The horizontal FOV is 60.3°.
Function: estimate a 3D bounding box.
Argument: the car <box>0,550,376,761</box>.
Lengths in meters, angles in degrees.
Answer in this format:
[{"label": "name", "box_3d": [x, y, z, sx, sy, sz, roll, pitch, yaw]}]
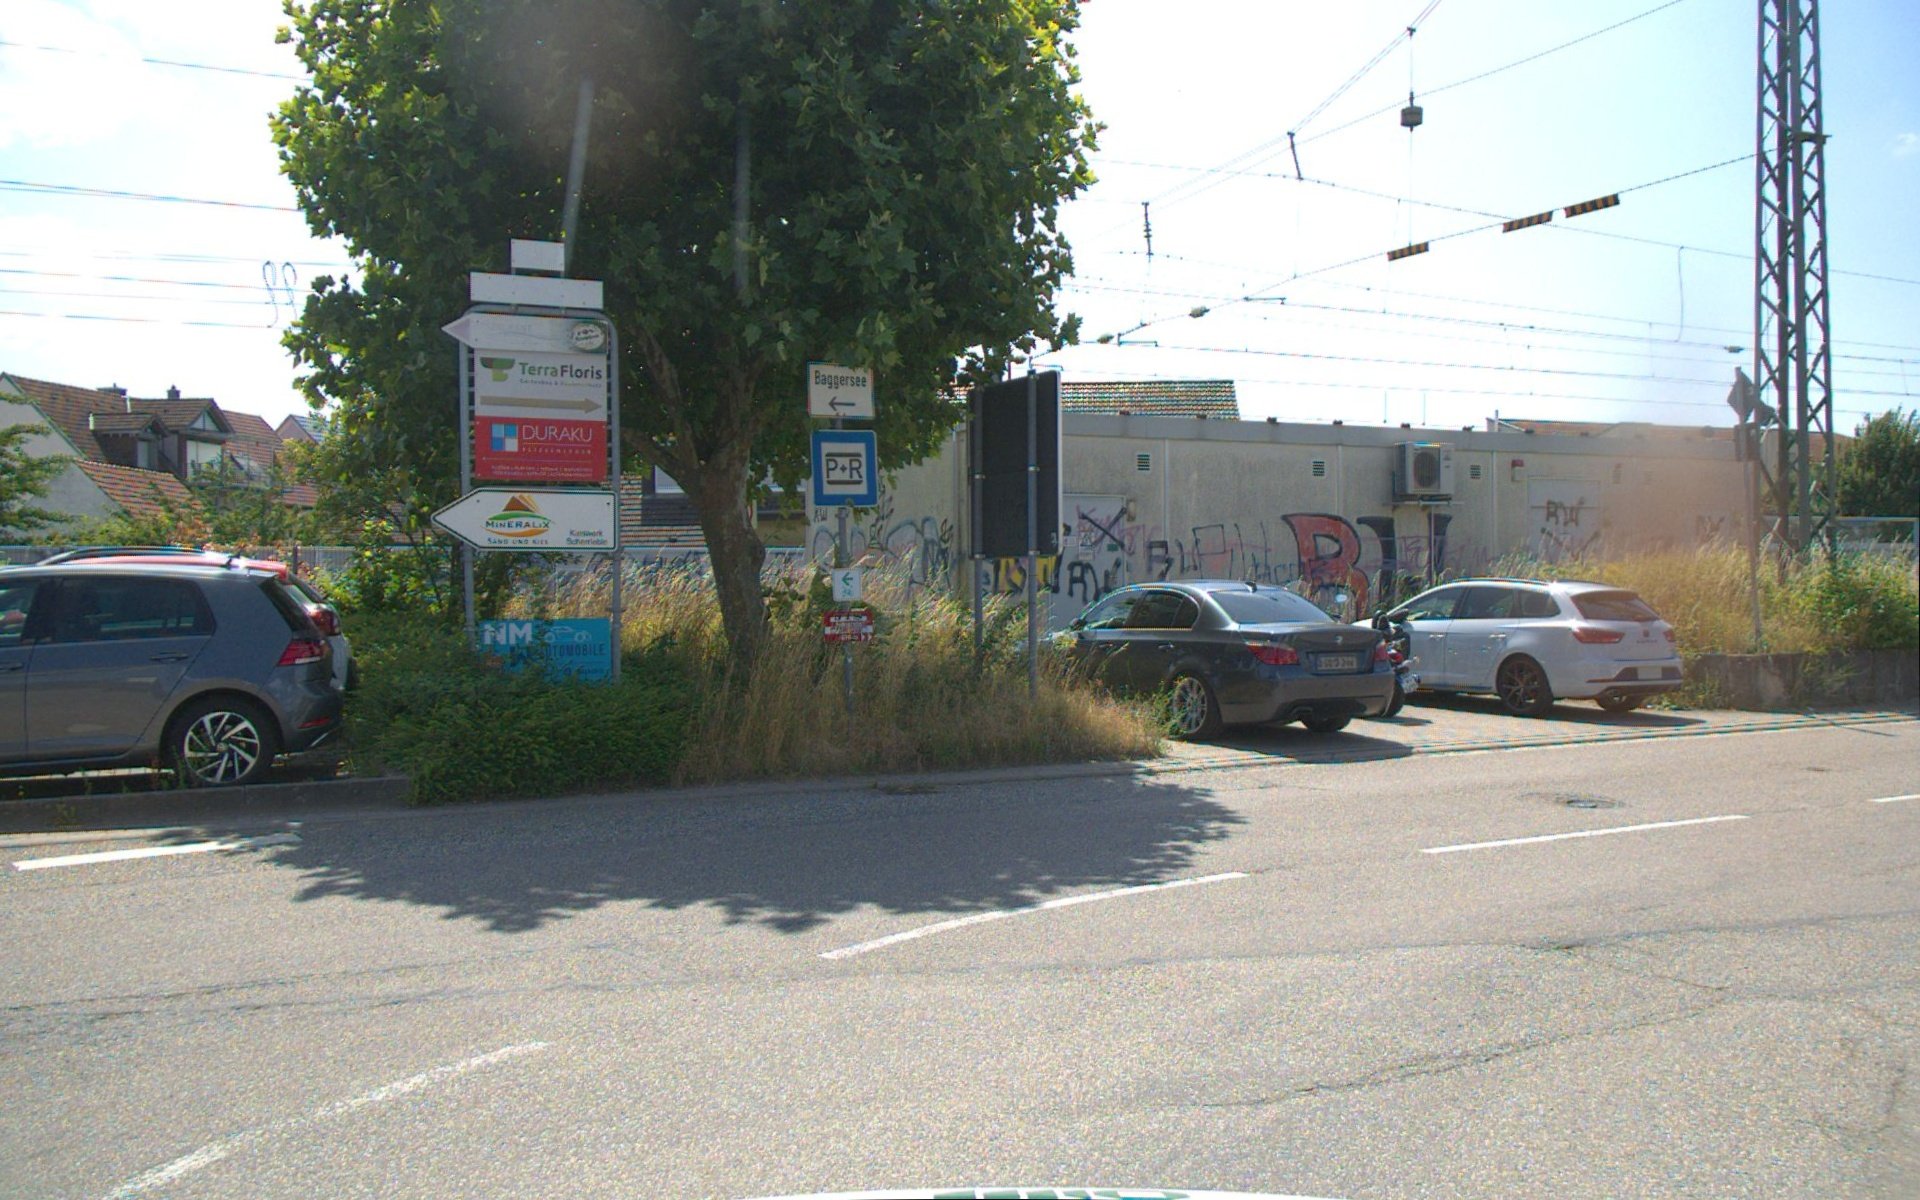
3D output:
[{"label": "car", "box_3d": [-6.639, 0.403, 13.420, 3.517, 1.563, 1.785, -1, 0, -23]}]

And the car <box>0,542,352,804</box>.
[{"label": "car", "box_3d": [-6.061, 0.436, 10.638, 3.993, 1.557, 1.679, -1, 0, -23]}]

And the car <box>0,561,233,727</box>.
[{"label": "car", "box_3d": [-9.964, 0.447, 17.597, 4.018, 1.666, 1.986, -1, 0, -23]}]

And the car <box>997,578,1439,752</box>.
[{"label": "car", "box_3d": [2.333, 0.539, 16.094, 1.766, 1.435, 4.388, -1, 0, -34]}]

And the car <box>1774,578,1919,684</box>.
[{"label": "car", "box_3d": [13.872, 0.431, 23.414, 1.649, 1.392, 4.050, -2, 2, -28]}]

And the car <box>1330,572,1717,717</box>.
[{"label": "car", "box_3d": [6.290, 0.410, 18.906, 1.762, 1.426, 4.045, -1, 2, -30]}]

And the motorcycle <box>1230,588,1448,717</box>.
[{"label": "motorcycle", "box_3d": [4.079, 0.531, 18.104, 0.708, 1.303, 2.706, 0, 0, -29]}]

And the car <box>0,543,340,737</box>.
[{"label": "car", "box_3d": [-7.936, 0.333, 15.379, 4.017, 1.666, 1.986, -1, 0, -23]}]
